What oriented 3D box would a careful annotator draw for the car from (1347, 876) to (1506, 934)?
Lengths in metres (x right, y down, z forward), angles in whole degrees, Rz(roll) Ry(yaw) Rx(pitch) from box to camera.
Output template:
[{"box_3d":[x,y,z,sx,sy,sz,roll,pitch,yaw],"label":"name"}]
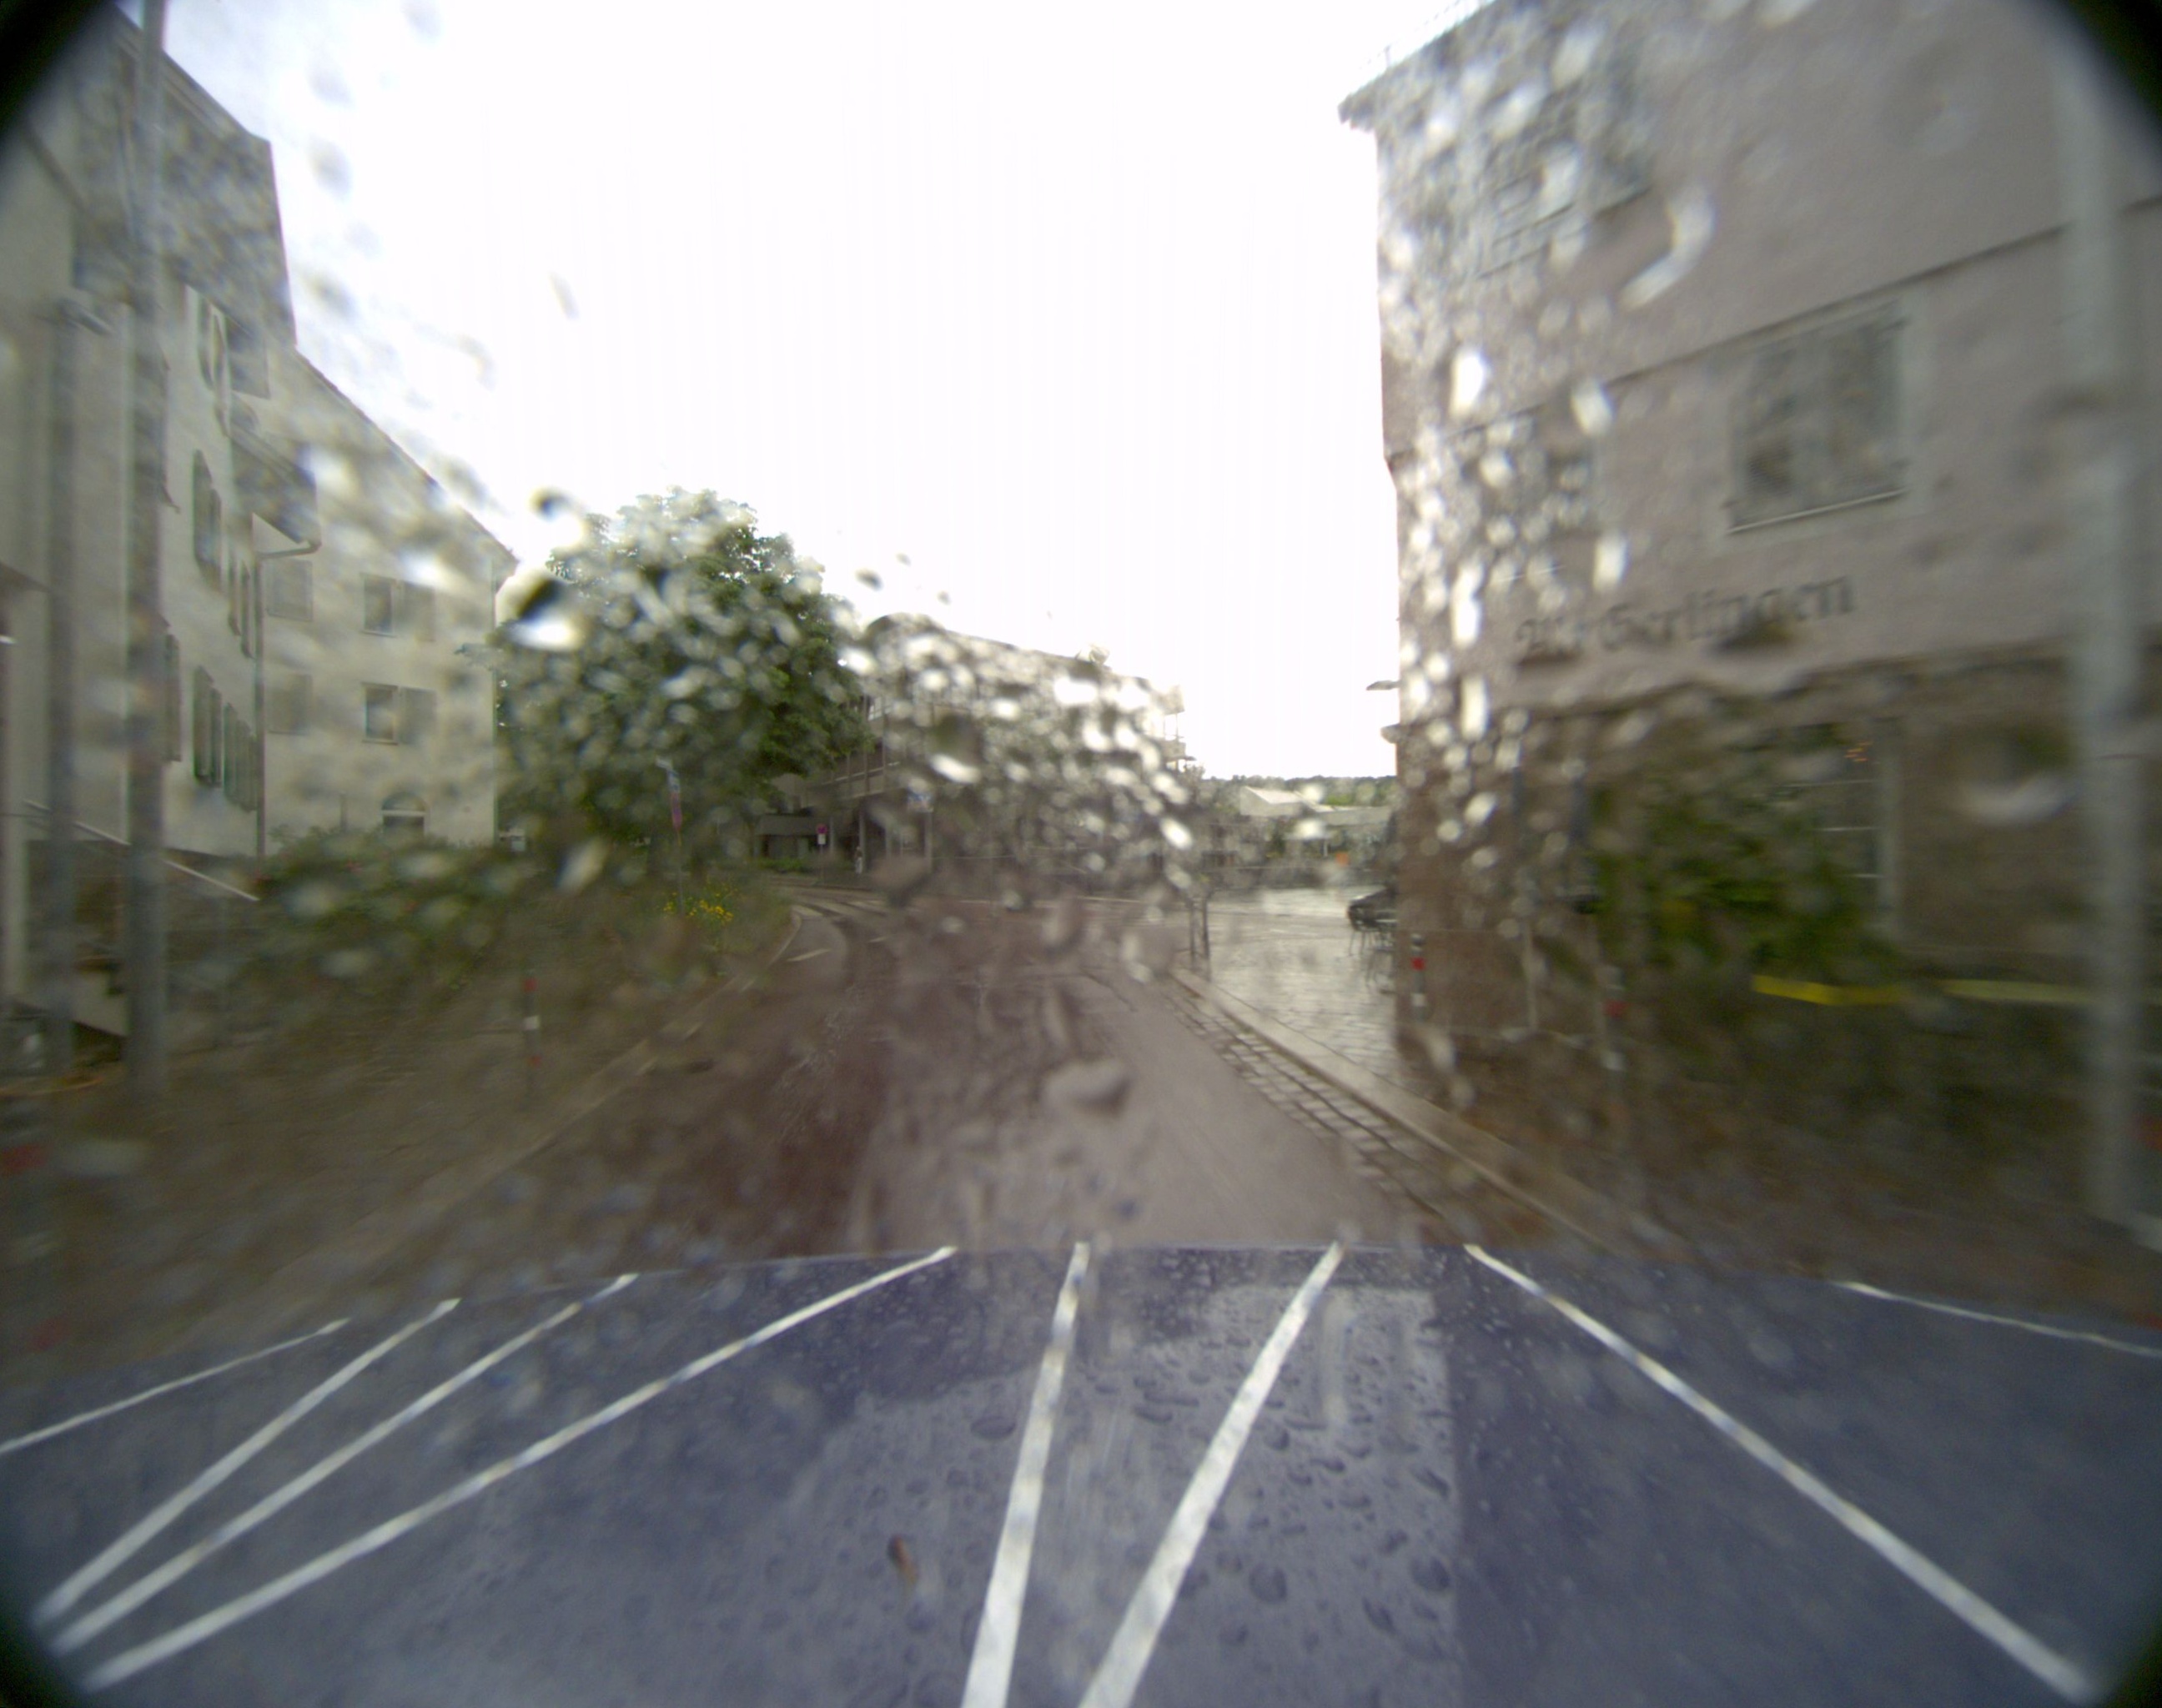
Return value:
[{"box_3d":[10.137,1.428,22.359,3.988,1.409,1.880,1,0,33],"label":"car"}]
